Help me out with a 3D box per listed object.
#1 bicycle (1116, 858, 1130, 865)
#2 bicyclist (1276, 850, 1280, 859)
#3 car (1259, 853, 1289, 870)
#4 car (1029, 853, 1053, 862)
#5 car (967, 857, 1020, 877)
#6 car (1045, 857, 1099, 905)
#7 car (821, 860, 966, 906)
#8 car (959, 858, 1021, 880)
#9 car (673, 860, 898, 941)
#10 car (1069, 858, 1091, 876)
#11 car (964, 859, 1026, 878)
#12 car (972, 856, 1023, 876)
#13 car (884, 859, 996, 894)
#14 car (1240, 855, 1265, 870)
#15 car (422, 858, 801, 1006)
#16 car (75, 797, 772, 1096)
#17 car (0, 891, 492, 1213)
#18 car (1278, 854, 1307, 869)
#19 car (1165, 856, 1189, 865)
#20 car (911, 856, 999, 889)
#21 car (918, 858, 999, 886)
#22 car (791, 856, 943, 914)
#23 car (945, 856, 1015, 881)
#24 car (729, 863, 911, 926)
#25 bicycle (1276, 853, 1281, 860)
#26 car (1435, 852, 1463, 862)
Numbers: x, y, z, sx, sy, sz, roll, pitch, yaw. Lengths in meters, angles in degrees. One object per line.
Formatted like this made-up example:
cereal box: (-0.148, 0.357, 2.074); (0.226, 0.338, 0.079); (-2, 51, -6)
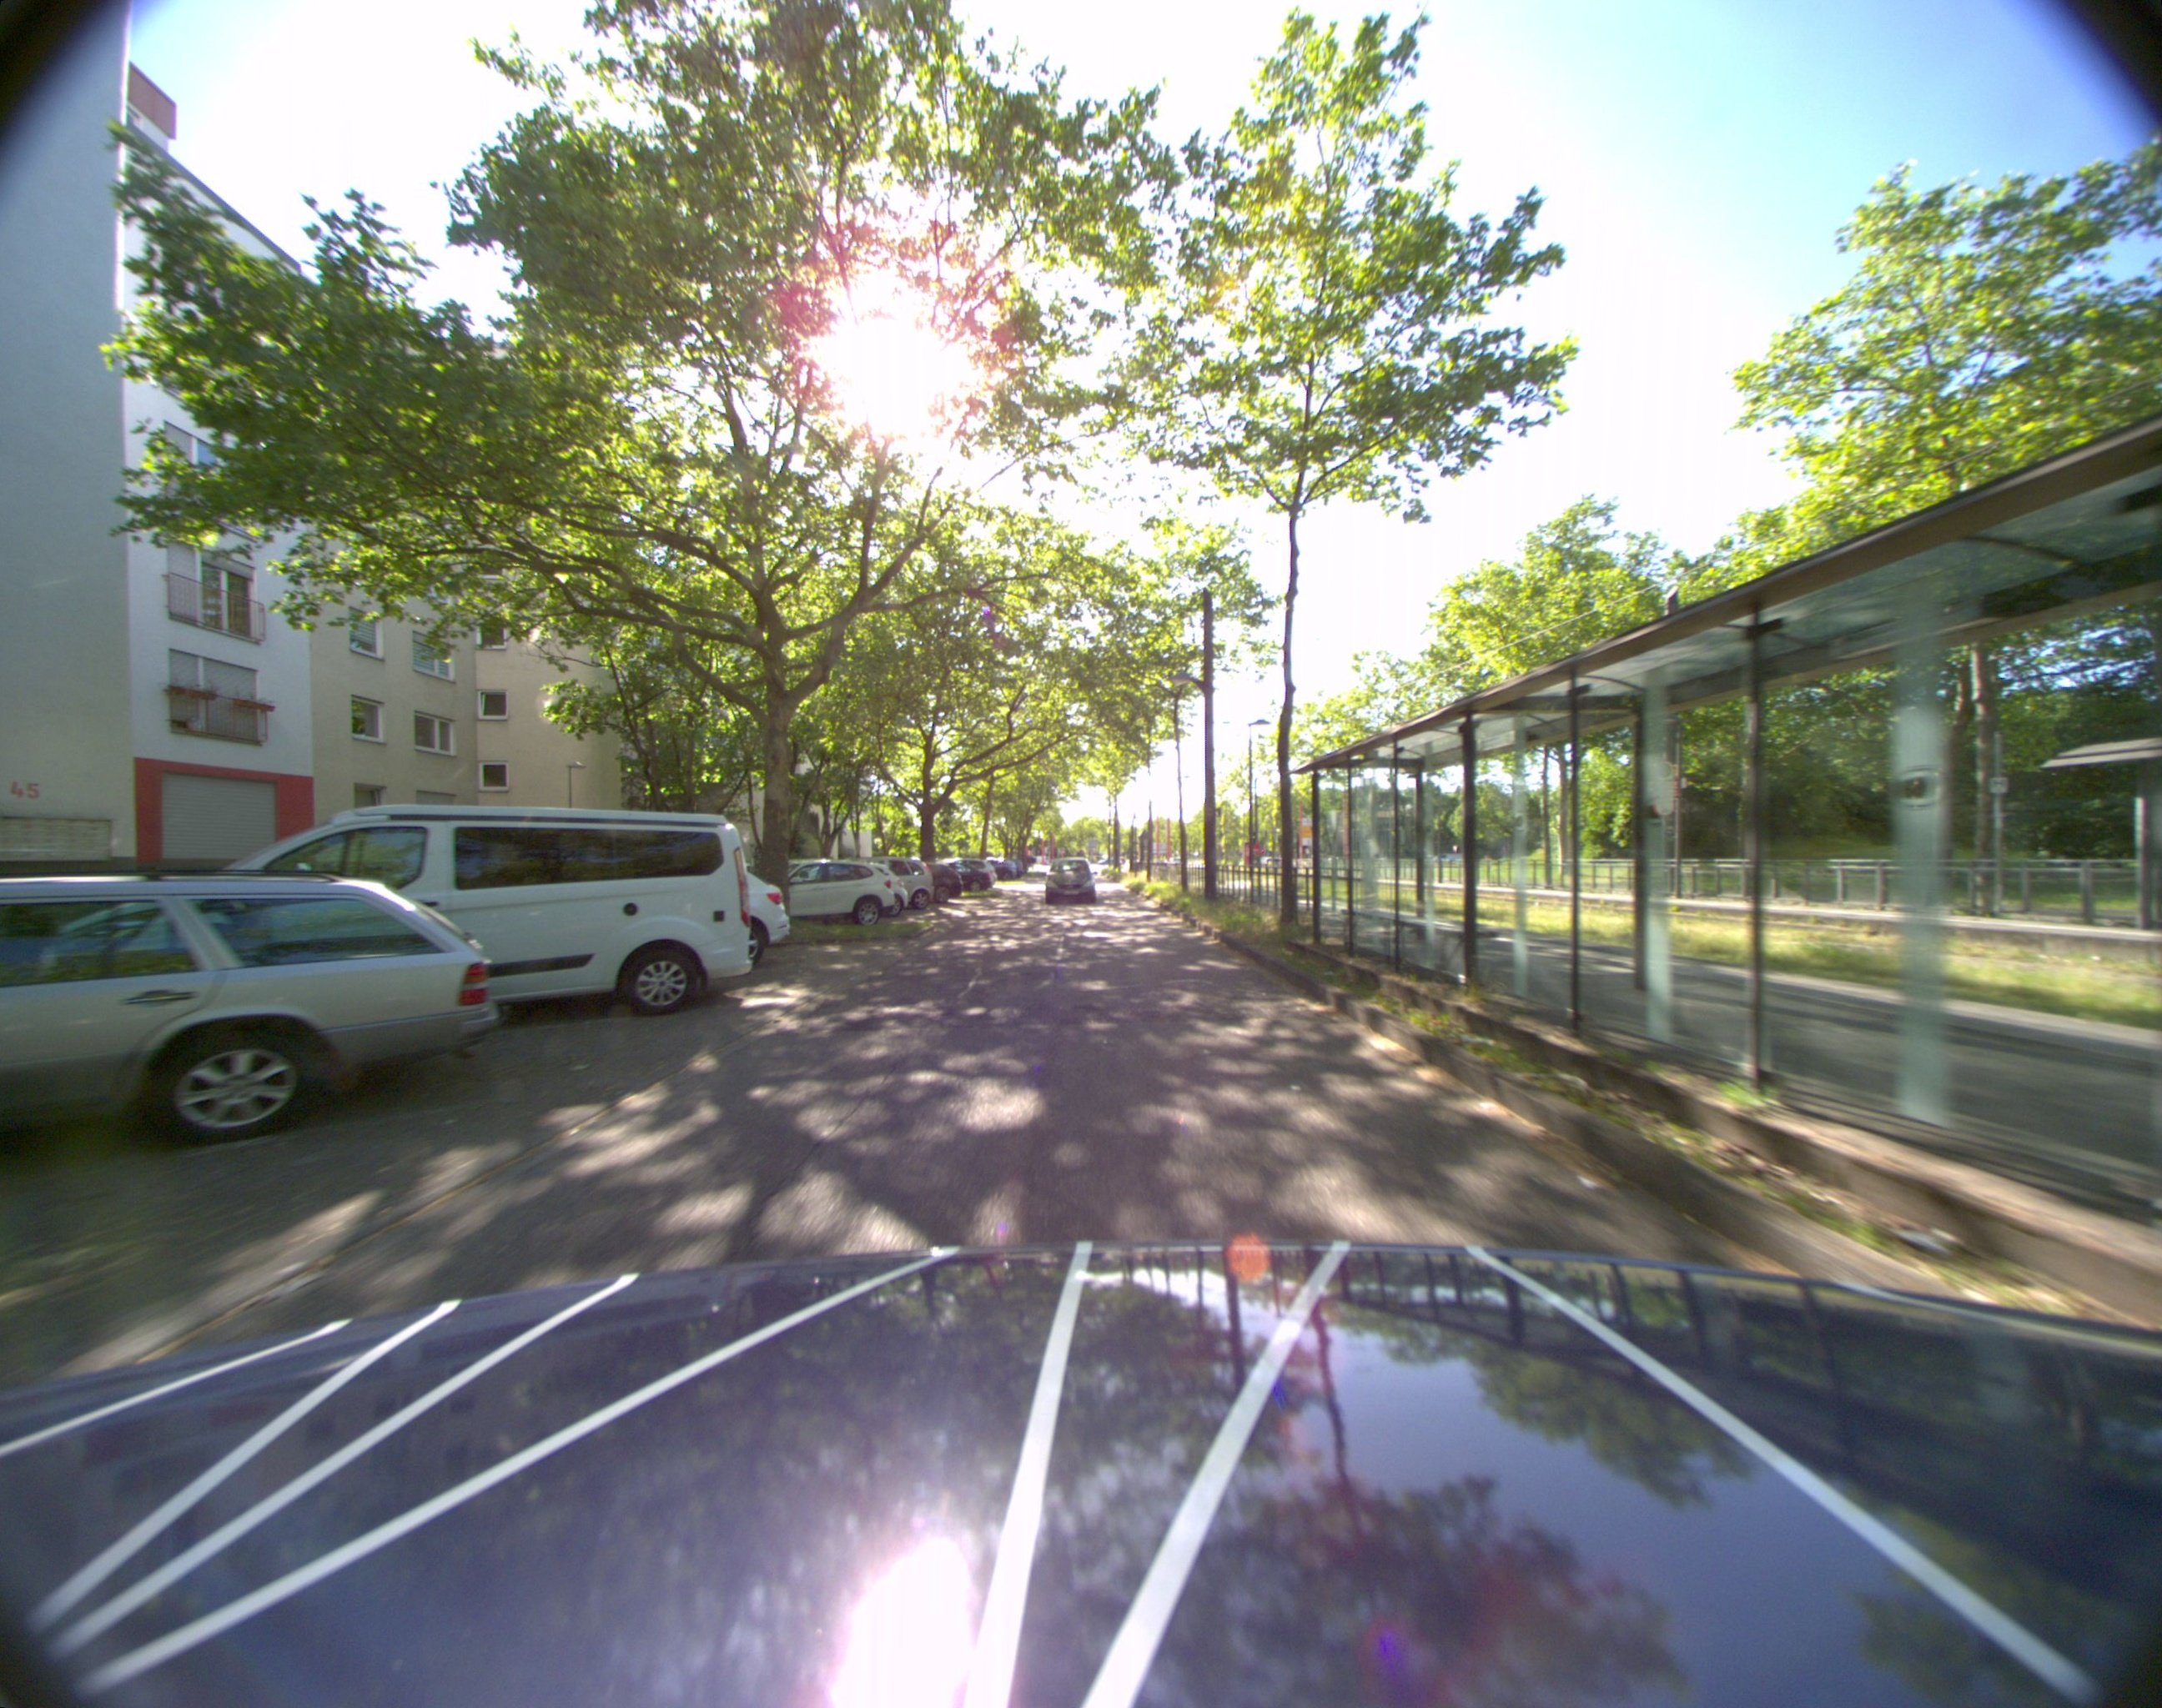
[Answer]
bicycle: (6.039, 1.087, 109.999); (1.896, 1.101, 0.704); (-1, 0, 23)
bicyclist: (32.221, 0.069, 124.071); (0.500, 1.439, 0.778); (0, 1, 2)
car: (18.534, 0.711, 73.101); (1.799, 1.598, 4.267); (0, 0, 0)
car: (-8.073, 0.743, 154.023); (4.545, 1.825, 1.803); (0, 0, 26)
car: (-6.667, 0.988, 58.004); (3.592, 1.483, 1.795); (1, 0, -42)
car: (-0.328, 0.935, 27.788); (1.799, 1.580, 3.763); (-1, 0, 0)
car: (-6.412, 0.970, 26.249); (4.418, 1.420, 1.946); (1, 0, -40)
car: (-6.170, 0.981, 51.666); (3.897, 1.437, 1.795); (1, 0, -44)
car: (-6.328, 0.930, 16.629); (1.794, 1.501, 4.222); (2, 0, 42)
car: (-0.139, 1.119, 67.391); (1.799, 1.529, 3.999); (0, 0, -2)
car: (-6.244, 1.029, 55.192); (4.156, 1.310, 1.795); (1, 0, -41)
car: (-6.693, 0.964, 61.359); (3.734, 1.583, 1.795); (1, 0, -41)
car: (-6.101, 0.931, 33.236); (1.795, 1.414, 4.600); (0, 0, 45)
car: (18.971, 0.960, 84.067); (1.799, 1.607, 4.233); (-1, 0, 0)
car: (-6.185, 0.890, 10.291); (4.067, 1.571, 1.827); (1, 0, -43)
car: (-5.740, 0.664, 7.433); (4.600, 2.040, 2.011); (1, 0, -40)
car: (-6.050, 0.972, 3.950); (4.600, 1.415, 1.795); (1, 0, -42)
car: (21.433, 0.748, 77.206); (1.799, 1.501, 4.267); (0, 0, 0)
car: (17.436, 1.212, 138.313); (3.990, 1.501, 1.803); (0, 0, 26)
car: (-6.243, 0.891, 37.871); (4.009, 1.566, 1.795); (1, 0, -41)
car: (-6.659, 0.973, 41.430); (4.009, 1.435, 1.795); (1, 0, -41)
car: (-6.392, 0.890, 22.922); (4.009, 1.580, 1.795); (1, 0, -43)
car: (-6.366, 0.907, 48.072); (1.795, 1.501, 4.187); (0, 0, 43)
car: (-6.633, 0.970, 19.591); (1.826, 1.411, 4.009); (2, 0, 45)
bicycle: (32.225, 0.449, 124.076); (0.500, 1.101, 1.800); (0, 0, 2)
car: (58.744, 0.471, 121.224); (3.990, 1.501, 1.803); (-1, -1, 26)
